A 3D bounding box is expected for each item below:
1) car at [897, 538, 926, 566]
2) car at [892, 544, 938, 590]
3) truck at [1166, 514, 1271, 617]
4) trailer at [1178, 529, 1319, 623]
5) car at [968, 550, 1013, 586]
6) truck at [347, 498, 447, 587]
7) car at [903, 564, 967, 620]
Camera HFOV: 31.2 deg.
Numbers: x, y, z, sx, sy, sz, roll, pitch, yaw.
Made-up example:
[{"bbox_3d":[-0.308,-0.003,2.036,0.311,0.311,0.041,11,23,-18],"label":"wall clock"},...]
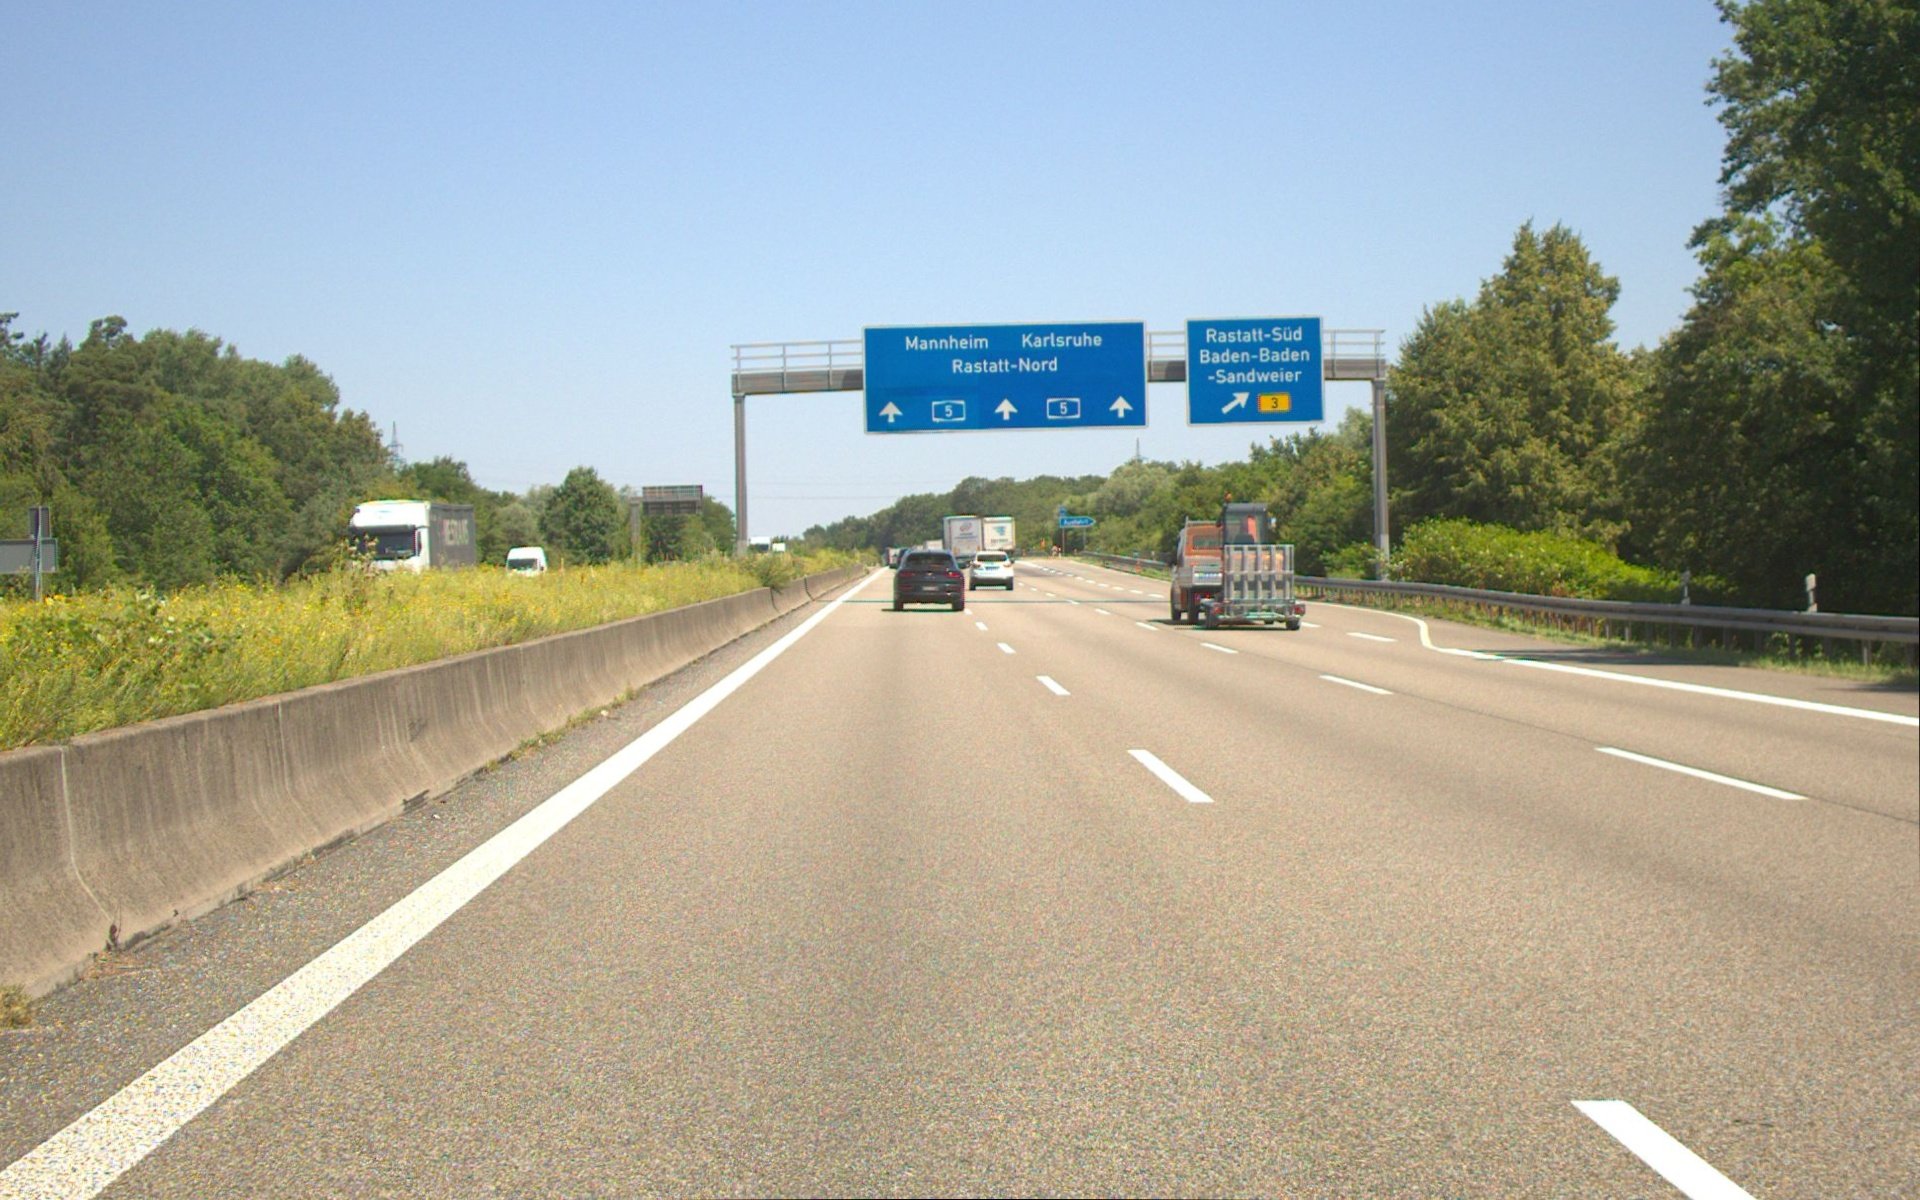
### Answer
[{"bbox_3d":[-3.564,-3.513,251.729,1.993,2.007,4.000,-2,0,-2],"label":"car"},{"bbox_3d":[-2.072,-1.517,157.772,1.993,2.007,4.000,-1,0,-1],"label":"car"},{"bbox_3d":[6.128,-0.838,81.966,1.993,2.365,4.645,0,1,-2],"label":"truck"},{"bbox_3d":[6.373,-0.560,76.617,2.420,2.007,6.034,0,1,-2],"label":"trailer"},{"bbox_3d":[1.284,-1.356,146.205,1.740,1.481,4.000,0,0,-1],"label":"car"},{"bbox_3d":[-19.801,-2.028,121.254,2.642,3.073,5.848,0,1,-1],"label":"truck"},{"bbox_3d":[-0.729,-0.237,97.303,1.660,1.544,3.783,0,0,-2],"label":"car"}]
